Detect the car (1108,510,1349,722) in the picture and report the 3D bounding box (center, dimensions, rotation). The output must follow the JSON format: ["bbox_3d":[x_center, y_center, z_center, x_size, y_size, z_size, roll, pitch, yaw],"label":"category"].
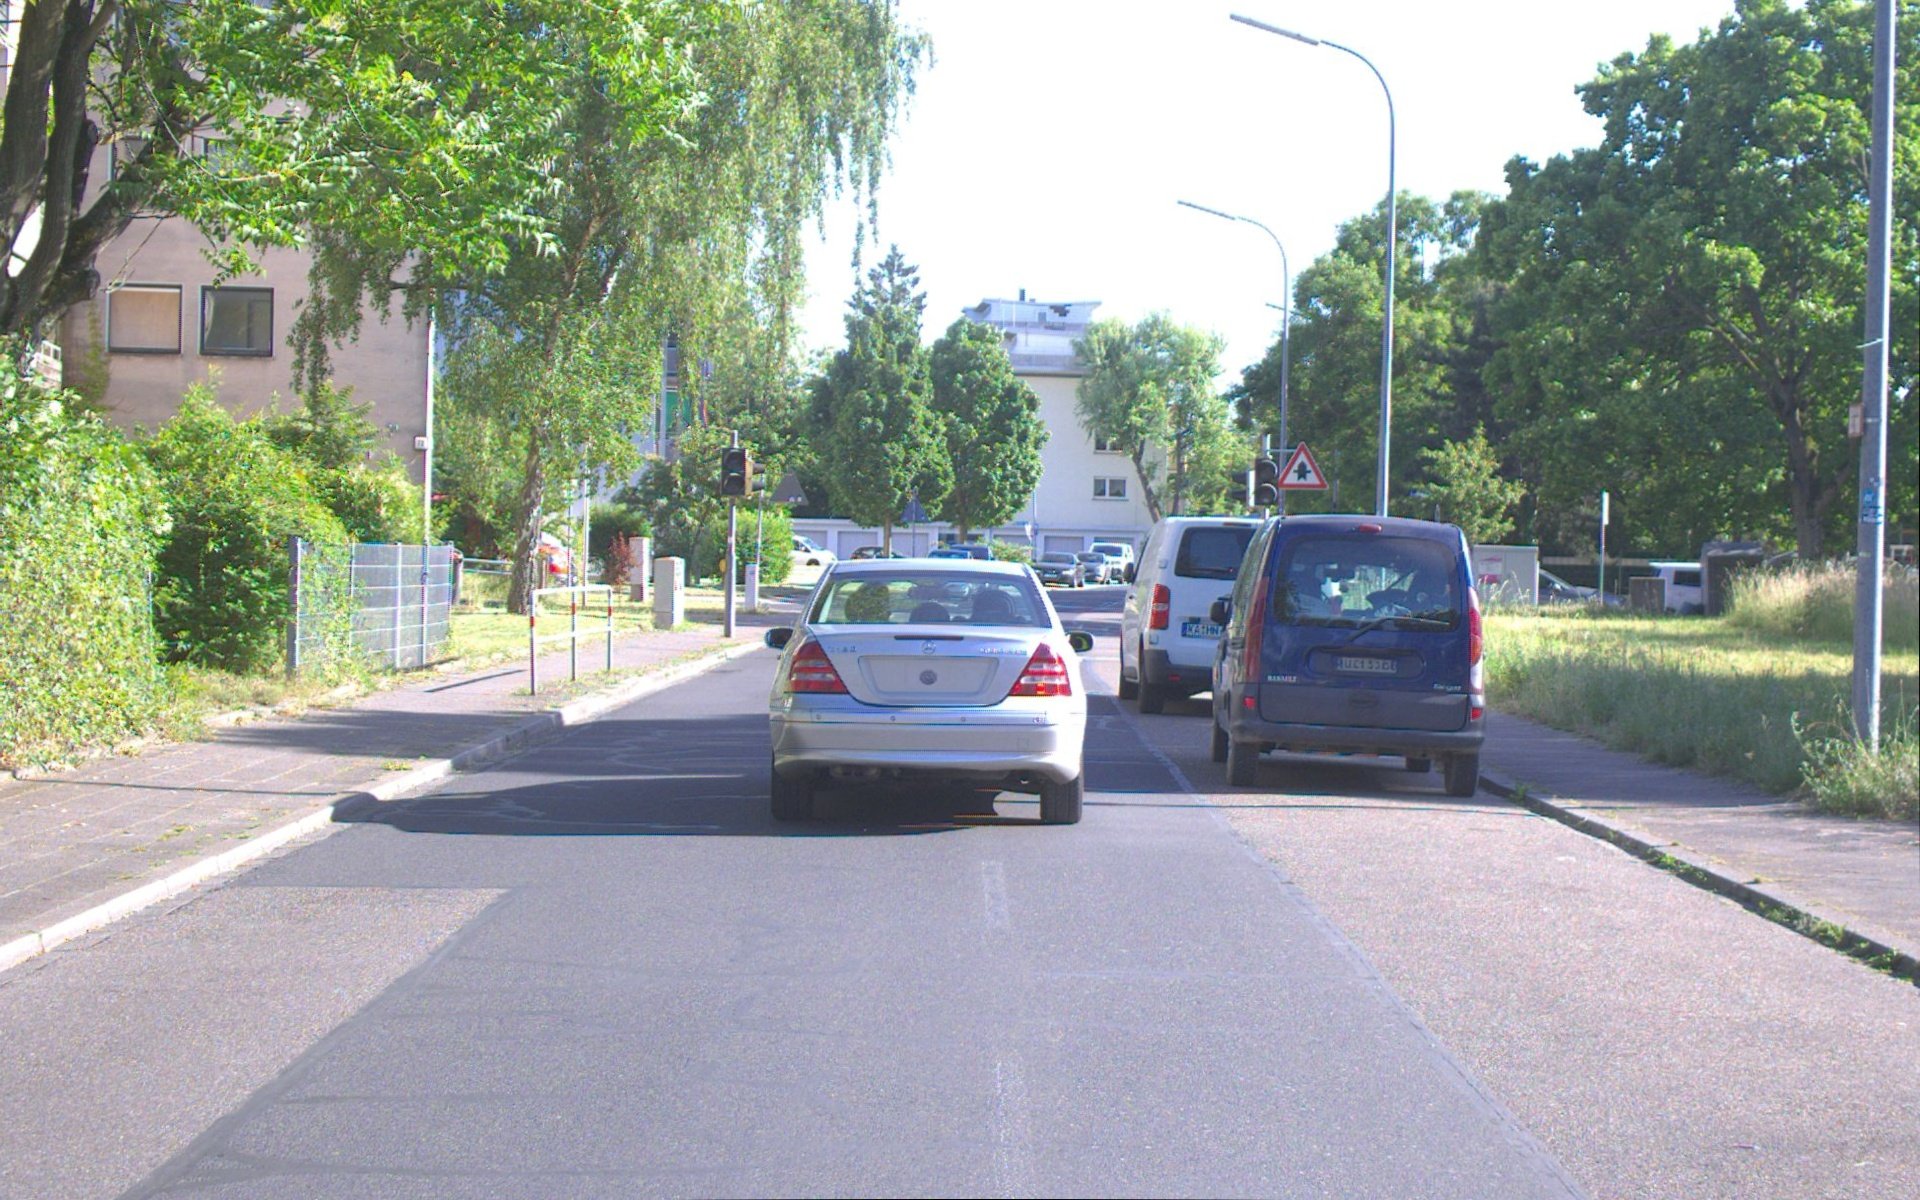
[{"bbox_3d":[2.571,0.106,33.993,1.915,1.865,4.865,3,1,0],"label":"car"}]

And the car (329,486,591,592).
[{"bbox_3d":[-11.996,-1.482,82.674,5.905,2.420,2.213,1,2,3],"label":"car"}]

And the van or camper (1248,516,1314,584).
[{"bbox_3d":[13.923,-2.182,148.888,2.497,2.835,6.849,1,1,8],"label":"van or camper"}]

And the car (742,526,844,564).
[{"bbox_3d":[-9.125,-3.011,188.026,5.110,1.944,2.235,1,1,17],"label":"car"}]

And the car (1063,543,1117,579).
[{"bbox_3d":[5.922,-1.776,156.445,1.834,1.513,4.220,3,1,9],"label":"car"}]

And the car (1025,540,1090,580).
[{"bbox_3d":[4.097,-1.673,143.755,2.035,1.487,5.254,4,1,8],"label":"car"}]

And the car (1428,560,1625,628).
[{"bbox_3d":[13.166,-0.148,80.089,4.426,1.333,1.745,2,2,8],"label":"car"}]

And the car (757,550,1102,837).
[{"bbox_3d":[-0.190,0.455,19.291,1.733,1.429,3.438,1,1,-1],"label":"car"}]

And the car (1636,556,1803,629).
[{"bbox_3d":[17.531,-0.191,79.470,3.686,1.572,1.827,2,1,11],"label":"car"}]

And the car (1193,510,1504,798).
[{"bbox_3d":[2.561,0.299,23.501,1.698,1.724,4.084,2,1,1],"label":"car"}]

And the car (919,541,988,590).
[{"bbox_3d":[-0.195,-1.119,108.946,1.647,1.461,4.330,2,1,6],"label":"car"}]

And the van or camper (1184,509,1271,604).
[{"bbox_3d":[7.766,-1.270,99.321,2.352,2.587,6.424,-2,1,5],"label":"van or camper"}]

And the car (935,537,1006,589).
[{"bbox_3d":[0.377,-1.263,115.207,1.914,1.598,4.811,4,1,5],"label":"car"}]
